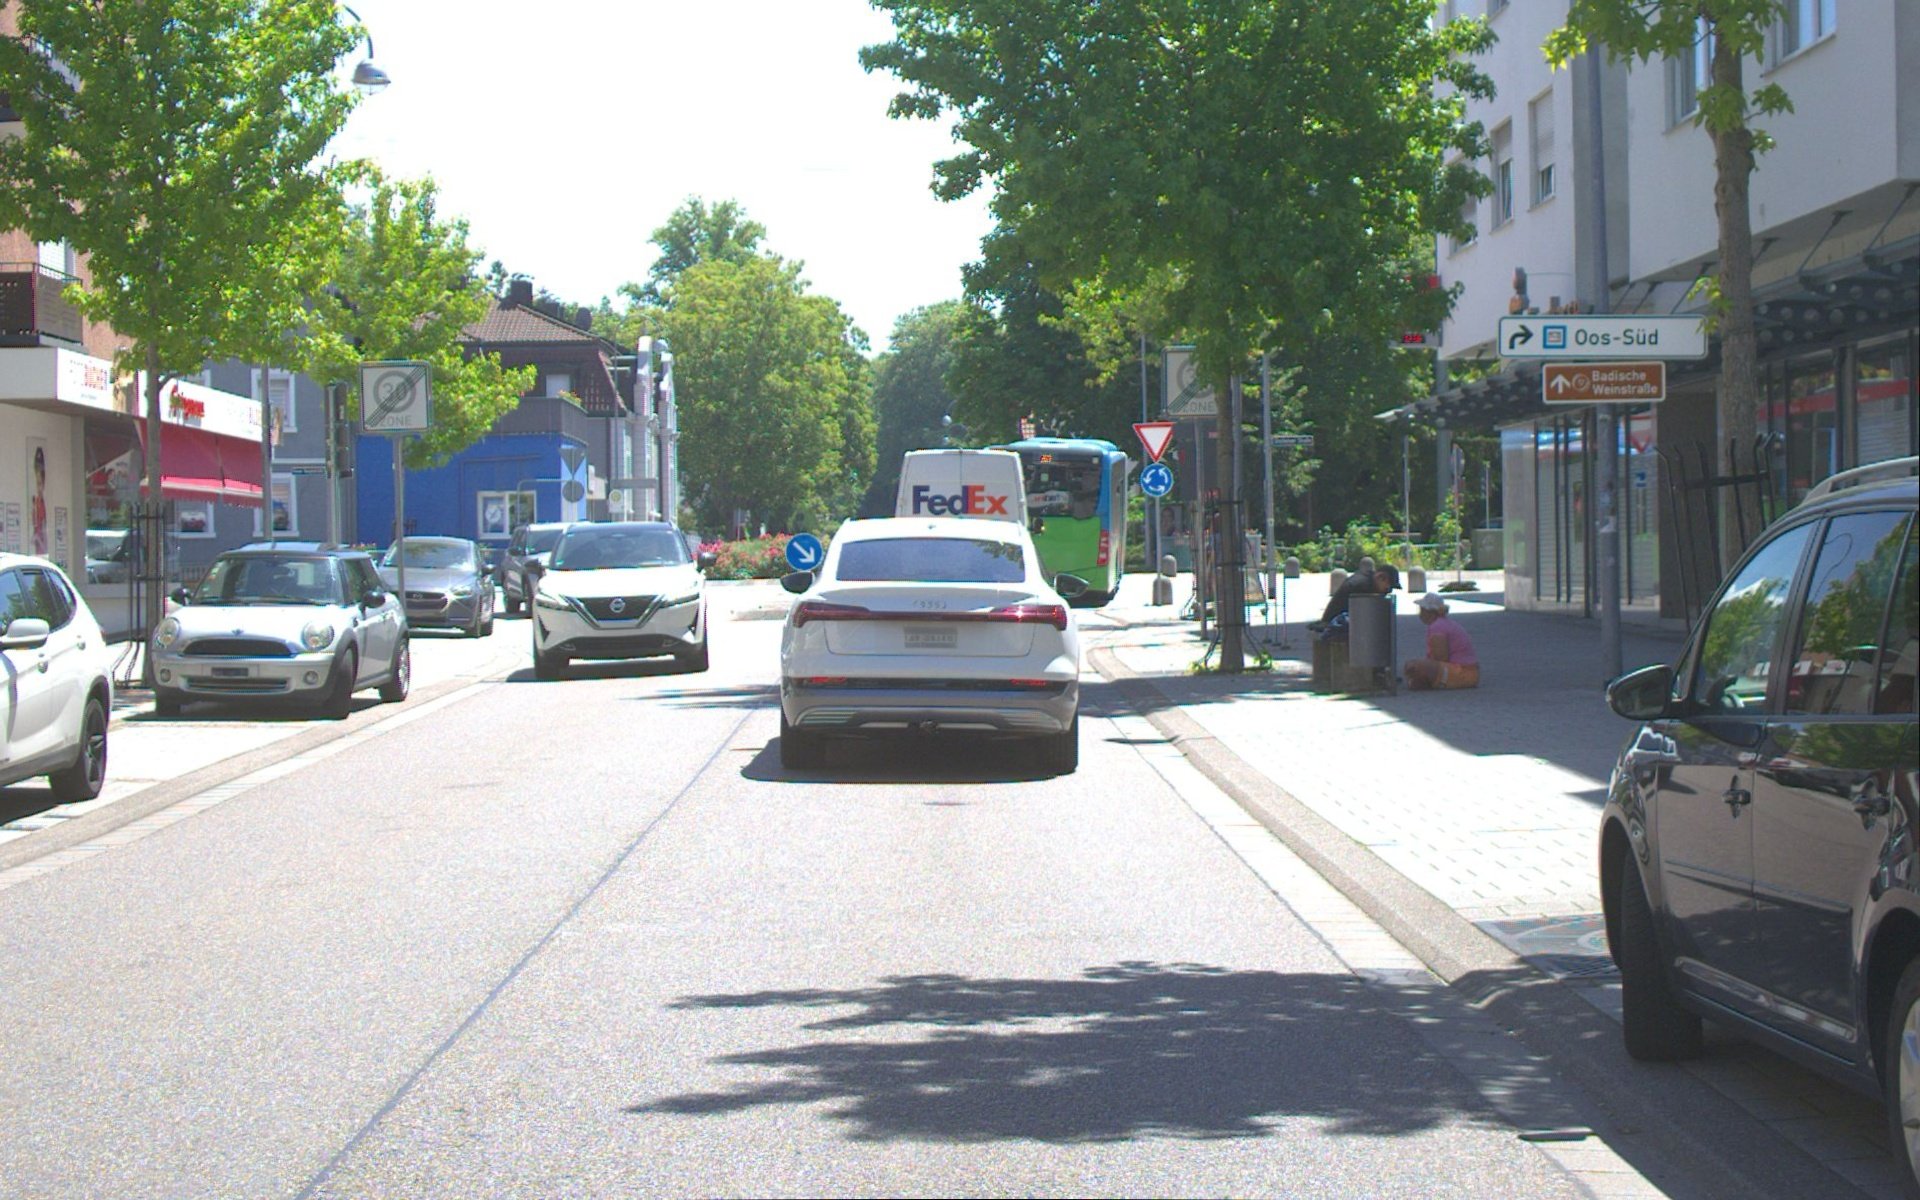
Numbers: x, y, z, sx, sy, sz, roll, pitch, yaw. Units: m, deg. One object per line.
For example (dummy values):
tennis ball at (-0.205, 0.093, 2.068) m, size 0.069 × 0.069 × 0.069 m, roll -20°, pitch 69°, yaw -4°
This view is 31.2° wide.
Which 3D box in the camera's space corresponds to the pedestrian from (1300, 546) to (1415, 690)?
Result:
pedestrian at (3.489, 0.154, 30.233) m, size 0.906 × 1.232 × 0.648 m, roll -1°, pitch 1°, yaw -1°

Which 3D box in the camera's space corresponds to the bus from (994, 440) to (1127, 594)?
bus at (2.126, -1.790, 75.310) m, size 2.661 × 3.199 × 7.452 m, roll 0°, pitch 1°, yaw 0°

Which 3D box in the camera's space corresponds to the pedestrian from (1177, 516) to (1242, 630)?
pedestrian at (3.340, -0.363, 46.052) m, size 0.580 × 1.497 × 0.719 m, roll -2°, pitch 1°, yaw -24°

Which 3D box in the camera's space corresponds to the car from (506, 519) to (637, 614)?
car at (-7.549, -0.653, 66.562) m, size 1.864 × 1.751 × 4.001 m, roll 1°, pitch 1°, yaw -16°

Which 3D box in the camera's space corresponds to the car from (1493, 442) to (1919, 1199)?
car at (2.735, 0.454, 8.481) m, size 1.855 × 1.669 × 4.537 m, roll -3°, pitch 1°, yaw -3°

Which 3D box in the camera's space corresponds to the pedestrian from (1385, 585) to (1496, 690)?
pedestrian at (4.155, 0.320, 29.765) m, size 0.906 × 0.876 × 0.648 m, roll -1°, pitch 1°, yaw 5°

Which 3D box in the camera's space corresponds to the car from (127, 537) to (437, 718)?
car at (-5.908, 0.194, 30.453) m, size 1.752 × 1.448 × 4.401 m, roll 1°, pitch 1°, yaw 1°

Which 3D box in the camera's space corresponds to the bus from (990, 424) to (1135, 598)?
bus at (2.048, -1.703, 67.994) m, size 2.661 × 3.210 × 7.301 m, roll 1°, pitch 1°, yaw 2°

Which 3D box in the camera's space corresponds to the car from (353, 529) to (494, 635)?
car at (-8.009, -0.295, 51.617) m, size 1.837 × 1.490 × 4.001 m, roll -1°, pitch 1°, yaw -5°

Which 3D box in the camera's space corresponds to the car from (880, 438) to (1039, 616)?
car at (-0.023, -1.044, 50.242) m, size 2.156 × 2.433 × 5.283 m, roll 1°, pitch 1°, yaw 0°

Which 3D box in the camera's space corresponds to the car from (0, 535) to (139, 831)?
car at (-6.118, 0.429, 19.587) m, size 1.752 × 1.612 × 4.401 m, roll 1°, pitch 1°, yaw 1°

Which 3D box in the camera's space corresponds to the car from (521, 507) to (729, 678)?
car at (-3.576, -0.109, 37.319) m, size 1.856 × 1.686 × 4.151 m, roll -2°, pitch 1°, yaw -1°

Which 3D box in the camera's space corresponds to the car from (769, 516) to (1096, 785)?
car at (-0.226, 0.276, 23.063) m, size 1.993 × 1.627 × 4.000 m, roll 1°, pitch 1°, yaw -2°
